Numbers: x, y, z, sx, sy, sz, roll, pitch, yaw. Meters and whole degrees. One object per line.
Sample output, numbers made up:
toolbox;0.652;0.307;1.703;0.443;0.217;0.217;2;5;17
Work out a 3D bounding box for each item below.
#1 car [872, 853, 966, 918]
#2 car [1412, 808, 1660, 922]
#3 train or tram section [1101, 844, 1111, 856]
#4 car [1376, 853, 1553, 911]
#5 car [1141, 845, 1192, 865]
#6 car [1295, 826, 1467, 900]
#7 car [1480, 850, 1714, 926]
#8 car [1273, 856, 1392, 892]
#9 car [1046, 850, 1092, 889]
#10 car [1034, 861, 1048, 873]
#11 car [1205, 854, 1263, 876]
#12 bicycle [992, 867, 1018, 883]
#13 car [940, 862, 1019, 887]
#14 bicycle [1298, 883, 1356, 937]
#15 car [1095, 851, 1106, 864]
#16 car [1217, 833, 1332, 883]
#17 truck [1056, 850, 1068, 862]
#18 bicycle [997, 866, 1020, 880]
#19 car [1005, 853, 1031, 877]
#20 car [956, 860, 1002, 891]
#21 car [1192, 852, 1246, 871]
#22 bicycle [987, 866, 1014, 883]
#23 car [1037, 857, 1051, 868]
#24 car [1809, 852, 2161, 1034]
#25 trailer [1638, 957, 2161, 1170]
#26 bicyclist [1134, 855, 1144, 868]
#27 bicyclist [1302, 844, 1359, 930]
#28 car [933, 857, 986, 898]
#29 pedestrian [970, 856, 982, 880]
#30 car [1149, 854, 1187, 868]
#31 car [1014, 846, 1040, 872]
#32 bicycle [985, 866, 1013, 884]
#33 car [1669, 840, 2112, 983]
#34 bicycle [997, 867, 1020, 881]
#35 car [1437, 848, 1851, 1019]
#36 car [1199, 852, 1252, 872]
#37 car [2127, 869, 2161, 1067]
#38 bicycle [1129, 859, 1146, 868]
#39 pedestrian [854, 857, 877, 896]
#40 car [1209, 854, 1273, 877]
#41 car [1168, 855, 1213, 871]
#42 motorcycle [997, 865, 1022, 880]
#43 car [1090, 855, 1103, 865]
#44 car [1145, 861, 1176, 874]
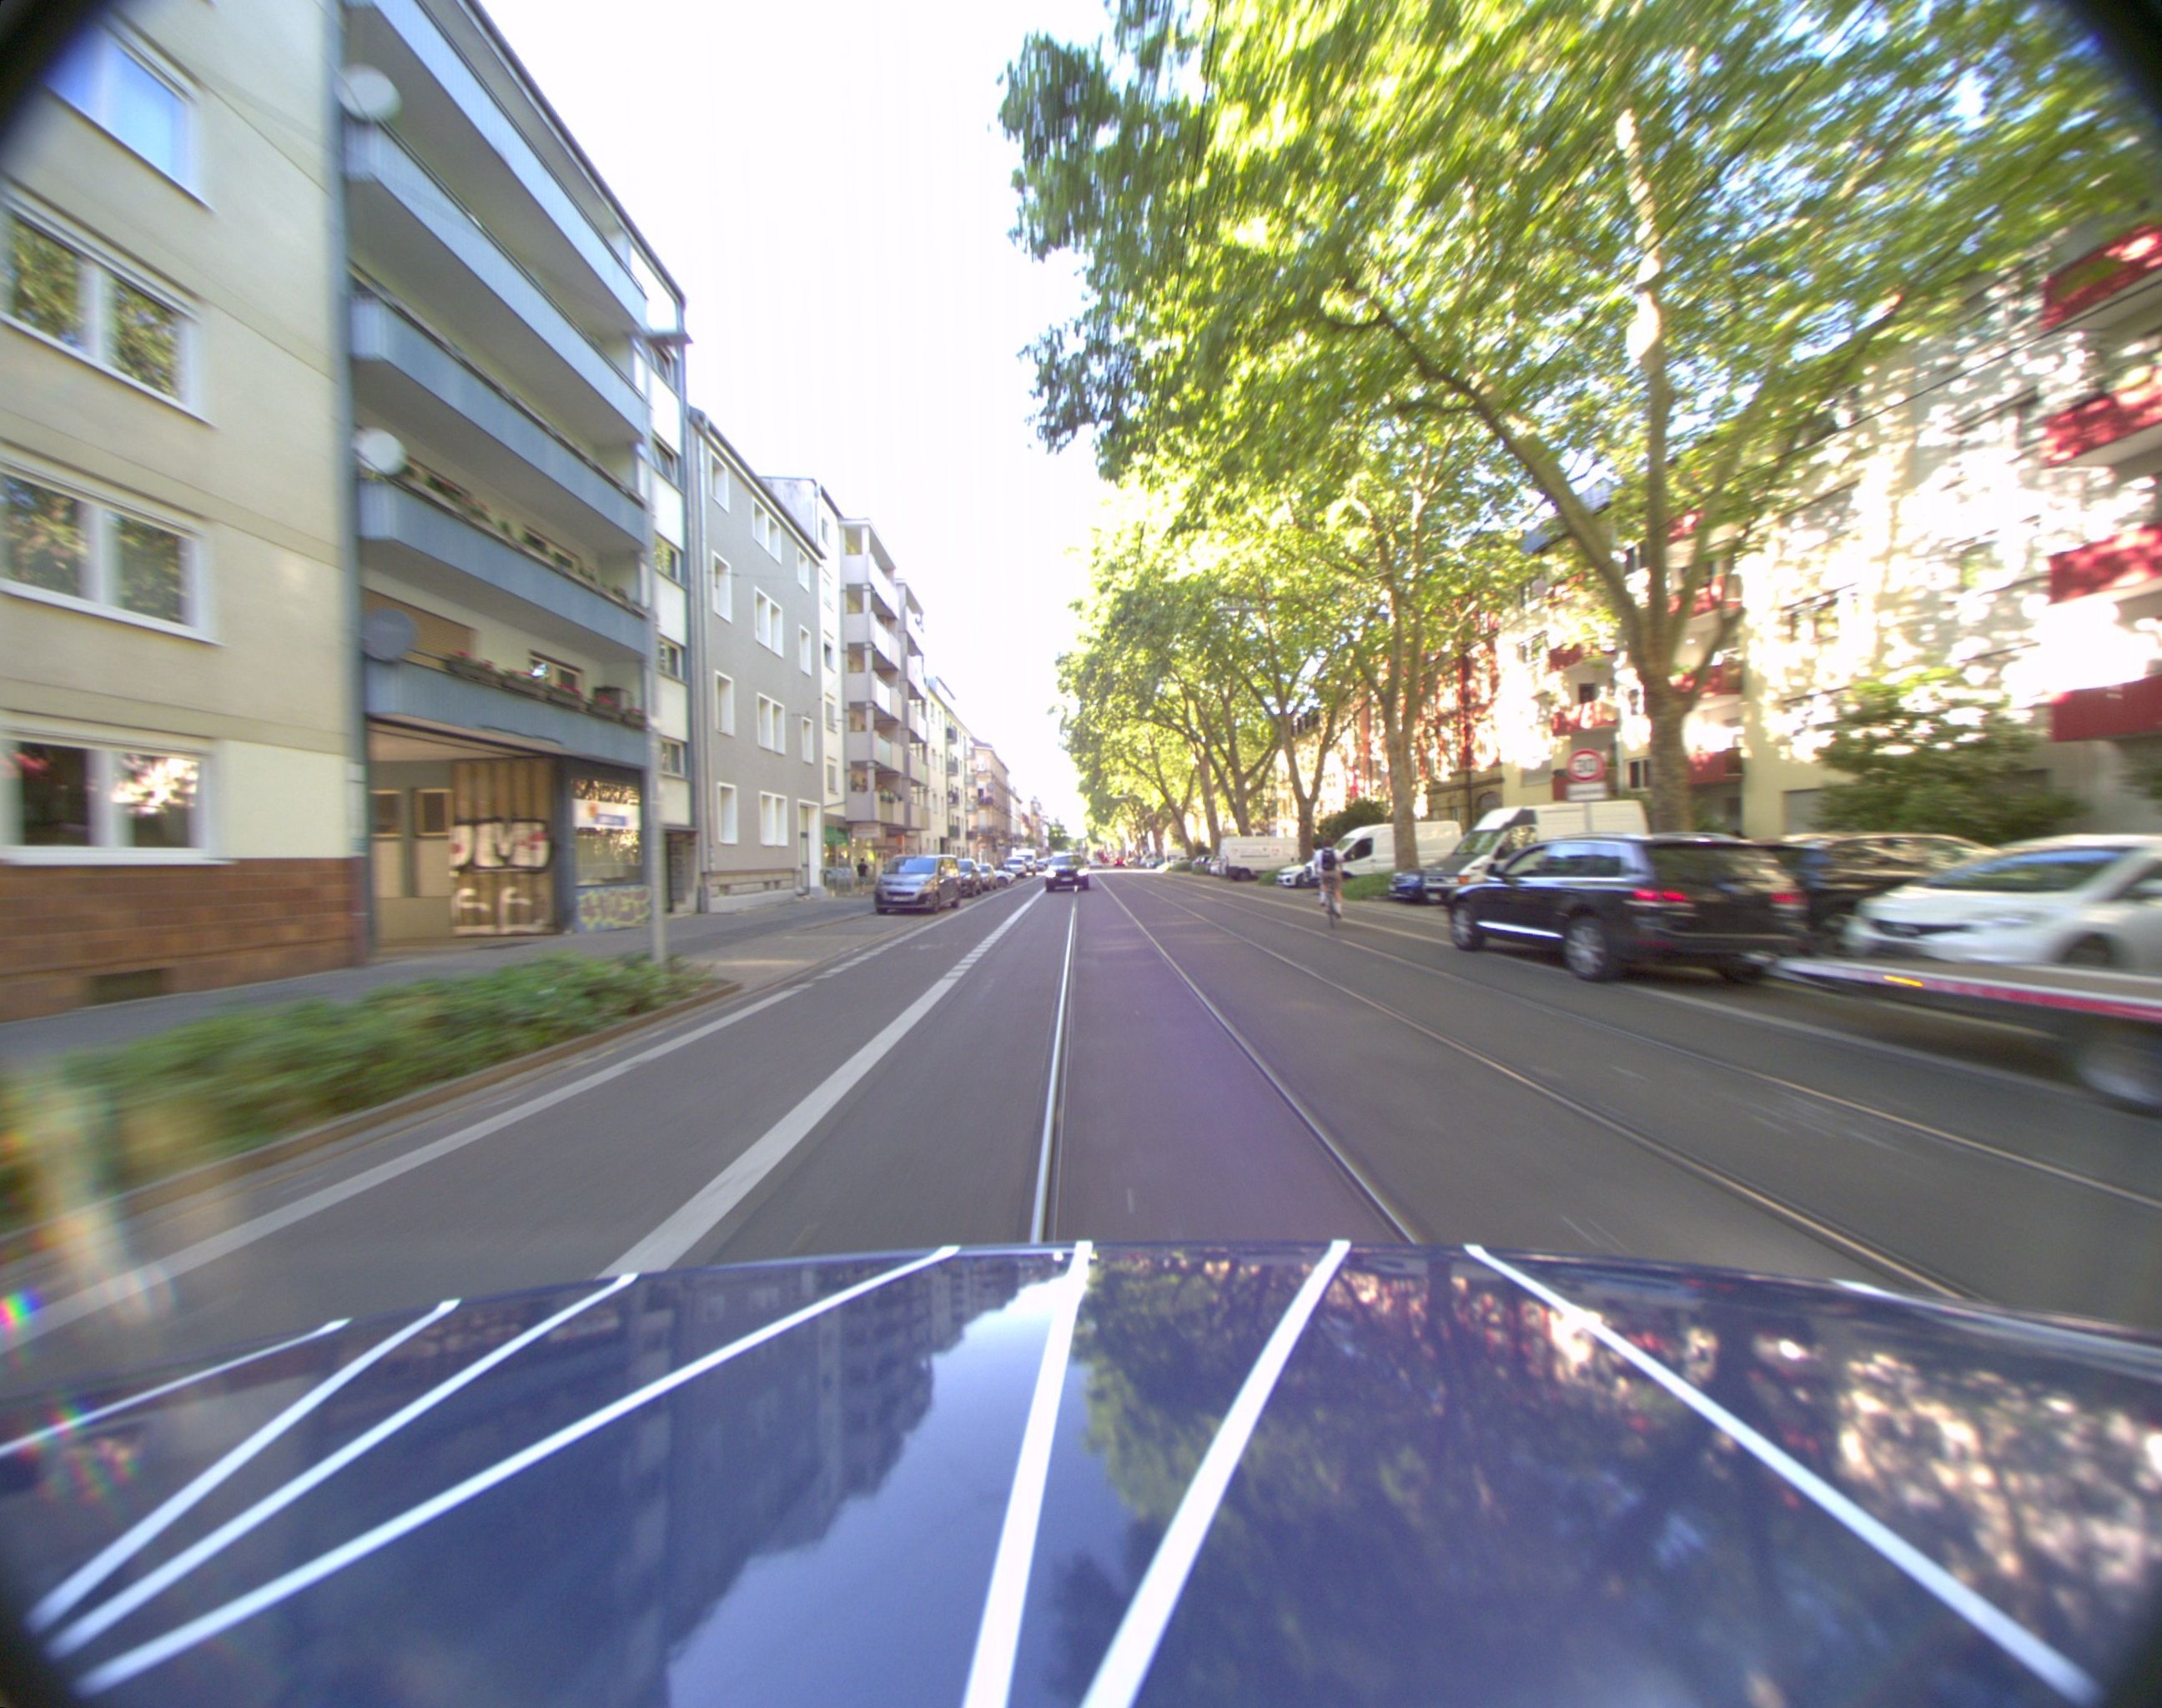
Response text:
car;-5.214;0.949;25.171;1.863;1.879;4.925;-1;0;2
car;11.180;0.247;18.906;4.958;2.552;2.081;-1;0;-4
train or tram section;7.948;-1.394;243.911;2.944;3.598;11.258;-3;0;1
car;10.762;0.760;21.540;4.029;1.457;1.872;-2;0;1
car;11.639;0.168;104.112;6.618;2.393;2.000;-3;0;0
car;10.783;0.306;27.601;5.373;2.463;2.057;-1;0;0
car;11.135;0.705;16.595;3.864;1.469;1.860;-1;0;-1
car;10.668;0.834;32.488;4.421;1.376;1.933;-2;0;0
car;-0.497;0.709;36.171;1.949;1.694;4.630;-1;0;2
car;-5.074;1.605;96.865;1.653;1.412;4.059;0;0;-2
car;10.894;0.772;54.360;3.802;1.452;1.704;-1;0;1
bicycle;-5.471;1.515;54.844;1.798;1.141;0.704;1;0;0
car;-6.146;1.197;45.839;4.630;1.429;1.863;0;0;-11
bicycle;4.947;1.100;15.382;0.522;0.956;1.928;-1;0;-1
car;3.563;0.569;136.655;1.922;2.214;4.960;-1;0;1
car;10.690;0.209;42.287;5.755;2.521;2.162;-2;0;0
truck;-4.968;0.488;200.285;2.842;3.145;7.291;-3;1;0
bicycle;-5.408;1.403;56.964;1.657;1.049;0.457;1;0;0
car;-5.354;0.913;65.504;1.863;1.810;4.350;2;1;-1
car;-5.389;1.090;40.661;1.728;1.516;4.513;-1;0;2
car;11.500;0.602;63.422;4.000;1.451;1.769;-1;0;-9
bicycle;-5.682;1.452;53.409;1.828;1.184;0.457;1;0;0
car;-4.952;1.129;102.758;1.606;1.412;4.013;0;0;0
car;10.152;0.788;7.641;3.997;1.513;1.771;-1;0;-1
trailer;6.659;1.331;4.336;2.166;0.628;6.399;1;0;-1
bicyclist;6.781;0.846;88.823;0.870;1.517;0.735;-1;0;-22
bicyclist;5.016;0.642;15.348;0.786;1.668;0.957;-1;0;-2
car;-5.329;0.985;33.776;1.771;1.695;4.282;-1;0;-2
pedestrian;-8.204;1.063;59.346;0.711;1.812;1.082;0;1;2
car;10.859;0.870;94.952;4.331;1.702;1.816;-1;0;-3
car;-5.326;0.478;75.958;2.154;2.481;6.088;-2;0;0
bicycle;-5.689;1.460;52.927;1.897;1.184;0.457;1;0;0
car;10.671;0.706;10.263;3.997;1.637;1.894;-1;0;-1
bicycle;-5.356;1.465;56.458;1.657;0.981;0.457;1;0;0
car;6.625;0.792;9.771;1.998;1.690;4.484;0;0;0
car;11.550;0.616;60.948;3.996;1.451;1.704;-1;0;2
car;10.081;0.832;5.228;3.440;1.521;1.787;-1;0;-3
bicycle;6.650;1.097;88.768;1.878;1.025;0.627;-1;0;-22
pedestrian;-9.738;1.012;34.308;0.758;1.710;0.720;-1;0;2
car;10.873;0.779;51.783;3.997;1.487;1.830;-1;0;1
car;10.435;0.870;72.804;3.997;1.452;1.879;-1;0;-1
motorcycle;-5.441;1.407;57.950;1.820;1.074;0.618;0;1;23
car;2.220;0.899;107.949;1.722;1.351;4.471;-1;0;3
car;10.243;1.716;97.918;3.779;1.509;1.747;-1;0;-3
